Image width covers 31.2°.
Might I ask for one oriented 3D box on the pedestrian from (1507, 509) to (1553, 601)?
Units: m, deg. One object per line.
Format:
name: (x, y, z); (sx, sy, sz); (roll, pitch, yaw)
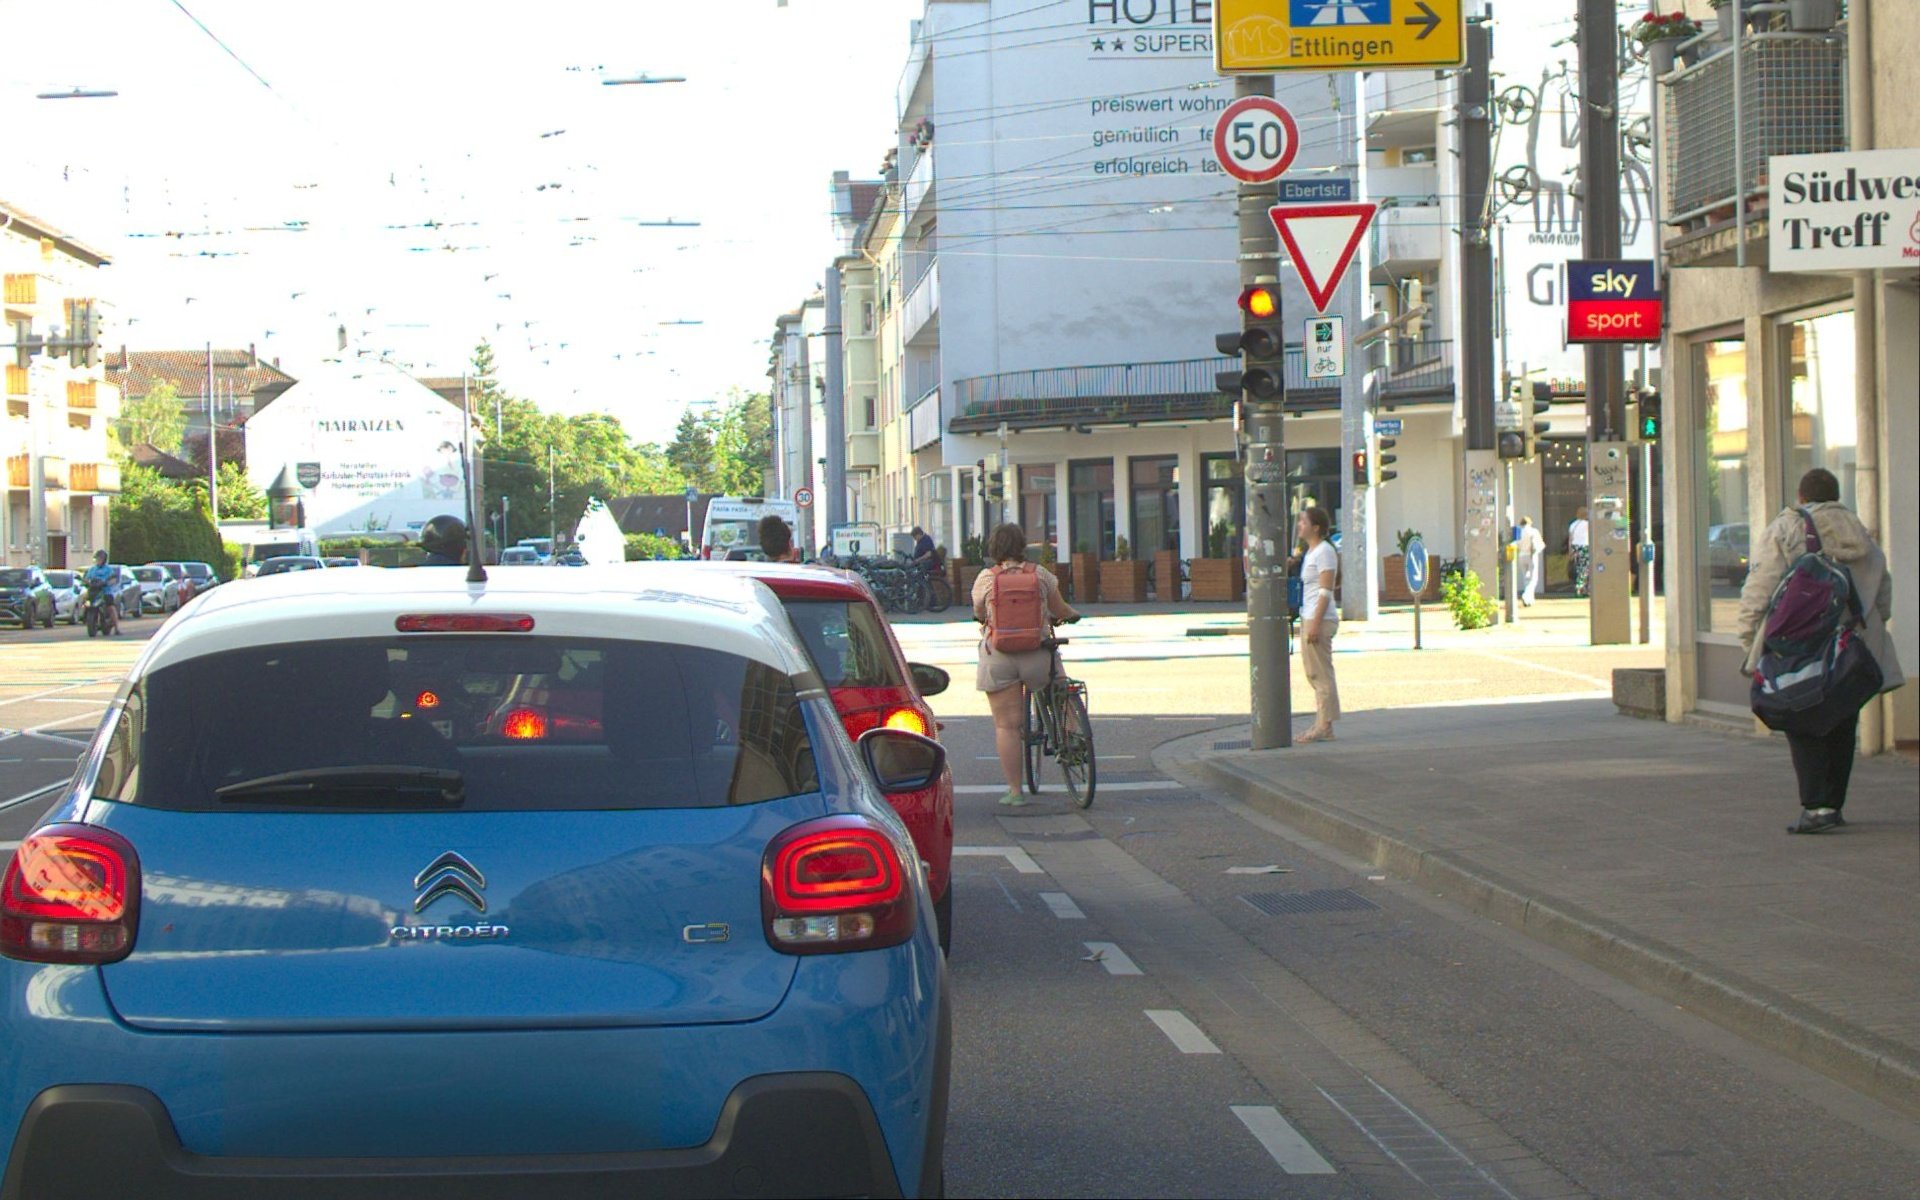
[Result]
pedestrian: (10.064, -0.790, 60.709); (0.610, 1.603, 0.668); (1, 0, 27)

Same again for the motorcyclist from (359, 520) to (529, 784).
motorcyclist: (-2.962, 0.292, 19.786); (0.855, 1.483, 0.729); (1, 0, -1)

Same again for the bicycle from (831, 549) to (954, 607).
bicycle: (-1.298, -0.428, 65.806); (2.251, 0.998, 0.856); (-3, 1, -5)

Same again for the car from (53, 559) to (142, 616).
car: (-24.599, -0.368, 98.133); (1.869, 1.571, 4.001); (1, 1, -6)

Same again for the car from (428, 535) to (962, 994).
car: (-1.064, 0.530, 13.529); (1.784, 1.516, 3.763); (1, 1, -5)

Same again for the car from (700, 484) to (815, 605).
car: (-4.339, -1.166, 72.818); (2.265, 2.473, 5.009); (0, 1, -5)

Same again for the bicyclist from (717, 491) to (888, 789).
bicyclist: (-0.907, 0.221, 19.950); (0.940, 1.667, 1.079); (1, 0, -2)

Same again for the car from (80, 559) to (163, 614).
car: (-25.024, -0.420, 102.729); (1.869, 1.571, 4.001); (1, 1, -6)

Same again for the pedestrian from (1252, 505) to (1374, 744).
pedestrian: (2.482, 0.166, 24.133); (0.540, 1.618, 0.732); (-5, -1, 21)

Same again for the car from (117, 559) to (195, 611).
car: (-25.150, -0.471, 107.612); (1.869, 1.571, 4.001); (1, 1, -6)

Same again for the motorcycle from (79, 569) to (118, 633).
motorcycle: (-16.785, 0.028, 66.981); (0.711, 1.216, 1.966); (-1, -1, -14)

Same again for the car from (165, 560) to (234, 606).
car: (-26.295, -0.602, 118.973); (1.869, 1.571, 4.001); (1, 1, -6)

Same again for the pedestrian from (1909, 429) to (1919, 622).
pedestrian: (5.807, -0.427, 19.277); (0.623, 1.084, 0.679); (-3, 2, -37)

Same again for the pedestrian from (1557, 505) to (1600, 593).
pedestrian: (11.300, -0.933, 62.797); (0.610, 1.603, 0.668); (1, 0, 25)

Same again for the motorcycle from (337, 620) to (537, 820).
motorcycle: (-2.961, 0.656, 19.637); (0.855, 1.043, 1.942); (1, 1, -1)

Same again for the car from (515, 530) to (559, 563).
car: (-23.108, -2.912, 187.825); (2.074, 1.756, 5.037); (1, 1, -4)

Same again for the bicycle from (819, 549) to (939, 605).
bicycle: (-1.588, -0.455, 67.174); (2.251, 0.998, 0.856); (-3, 1, -5)

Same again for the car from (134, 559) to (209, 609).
car: (-25.813, -0.531, 112.659); (1.869, 1.571, 4.001); (1, 1, -6)

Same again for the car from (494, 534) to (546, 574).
car: (-21.730, -2.250, 169.965); (2.218, 1.925, 4.950); (1, 1, -4)

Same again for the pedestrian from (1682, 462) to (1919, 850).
pedestrian: (3.738, 0.222, 14.913); (0.884, 1.586, 0.811); (-4, 2, -8)

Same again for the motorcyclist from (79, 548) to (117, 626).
motorcyclist: (-16.822, -0.247, 67.094); (0.693, 1.491, 0.684); (-1, -1, -14)

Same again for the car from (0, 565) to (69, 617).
car: (-23.684, -0.241, 86.095); (1.946, 1.235, 4.283); (1, 1, -5)

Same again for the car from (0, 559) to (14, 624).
car: (-23.175, -0.203, 79.389); (1.741, 1.521, 4.230); (1, 1, -4)

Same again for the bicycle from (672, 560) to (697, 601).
bicycle: (-11.240, -0.795, 140.505); (0.791, 1.664, 2.230); (1, 1, 1)

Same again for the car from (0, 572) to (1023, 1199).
car: (-0.794, 0.676, 7.181); (1.736, 1.447, 3.662); (0, 1, 3)

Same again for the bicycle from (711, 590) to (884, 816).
bicycle: (-0.930, 0.568, 20.089); (0.940, 1.219, 2.095); (1, 1, -2)

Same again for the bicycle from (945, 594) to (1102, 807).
bicycle: (0.402, 0.566, 20.524); (0.811, 1.177, 2.064); (1, 1, 4)

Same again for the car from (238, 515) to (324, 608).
car: (-23.478, -1.324, 119.043); (2.417, 3.131, 3.489); (1, 0, -3)

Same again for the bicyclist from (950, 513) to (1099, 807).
bicyclist: (0.390, 0.342, 20.366); (0.811, 1.686, 0.935); (1, 0, 4)

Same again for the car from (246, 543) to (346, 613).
car: (-14.723, -0.497, 76.407); (1.778, 1.481, 3.829); (-2, 1, -5)

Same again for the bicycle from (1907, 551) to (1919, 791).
bicycle: (4.901, 0.344, 15.806); (0.496, 1.157, 1.777); (-1, 0, -3)

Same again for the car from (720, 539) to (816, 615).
car: (-3.816, -0.465, 67.830); (1.657, 1.426, 3.889); (1, 1, -7)

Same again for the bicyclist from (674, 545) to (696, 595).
bicyclist: (-11.235, -1.222, 140.504); (0.791, 2.018, 0.986); (1, 0, 1)

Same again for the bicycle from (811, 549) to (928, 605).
bicycle: (-1.803, -0.461, 68.284); (2.251, 0.998, 0.856); (-3, 1, -5)

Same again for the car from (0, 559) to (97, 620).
car: (-24.387, -0.303, 92.073); (1.869, 1.571, 4.001); (1, 1, -6)
